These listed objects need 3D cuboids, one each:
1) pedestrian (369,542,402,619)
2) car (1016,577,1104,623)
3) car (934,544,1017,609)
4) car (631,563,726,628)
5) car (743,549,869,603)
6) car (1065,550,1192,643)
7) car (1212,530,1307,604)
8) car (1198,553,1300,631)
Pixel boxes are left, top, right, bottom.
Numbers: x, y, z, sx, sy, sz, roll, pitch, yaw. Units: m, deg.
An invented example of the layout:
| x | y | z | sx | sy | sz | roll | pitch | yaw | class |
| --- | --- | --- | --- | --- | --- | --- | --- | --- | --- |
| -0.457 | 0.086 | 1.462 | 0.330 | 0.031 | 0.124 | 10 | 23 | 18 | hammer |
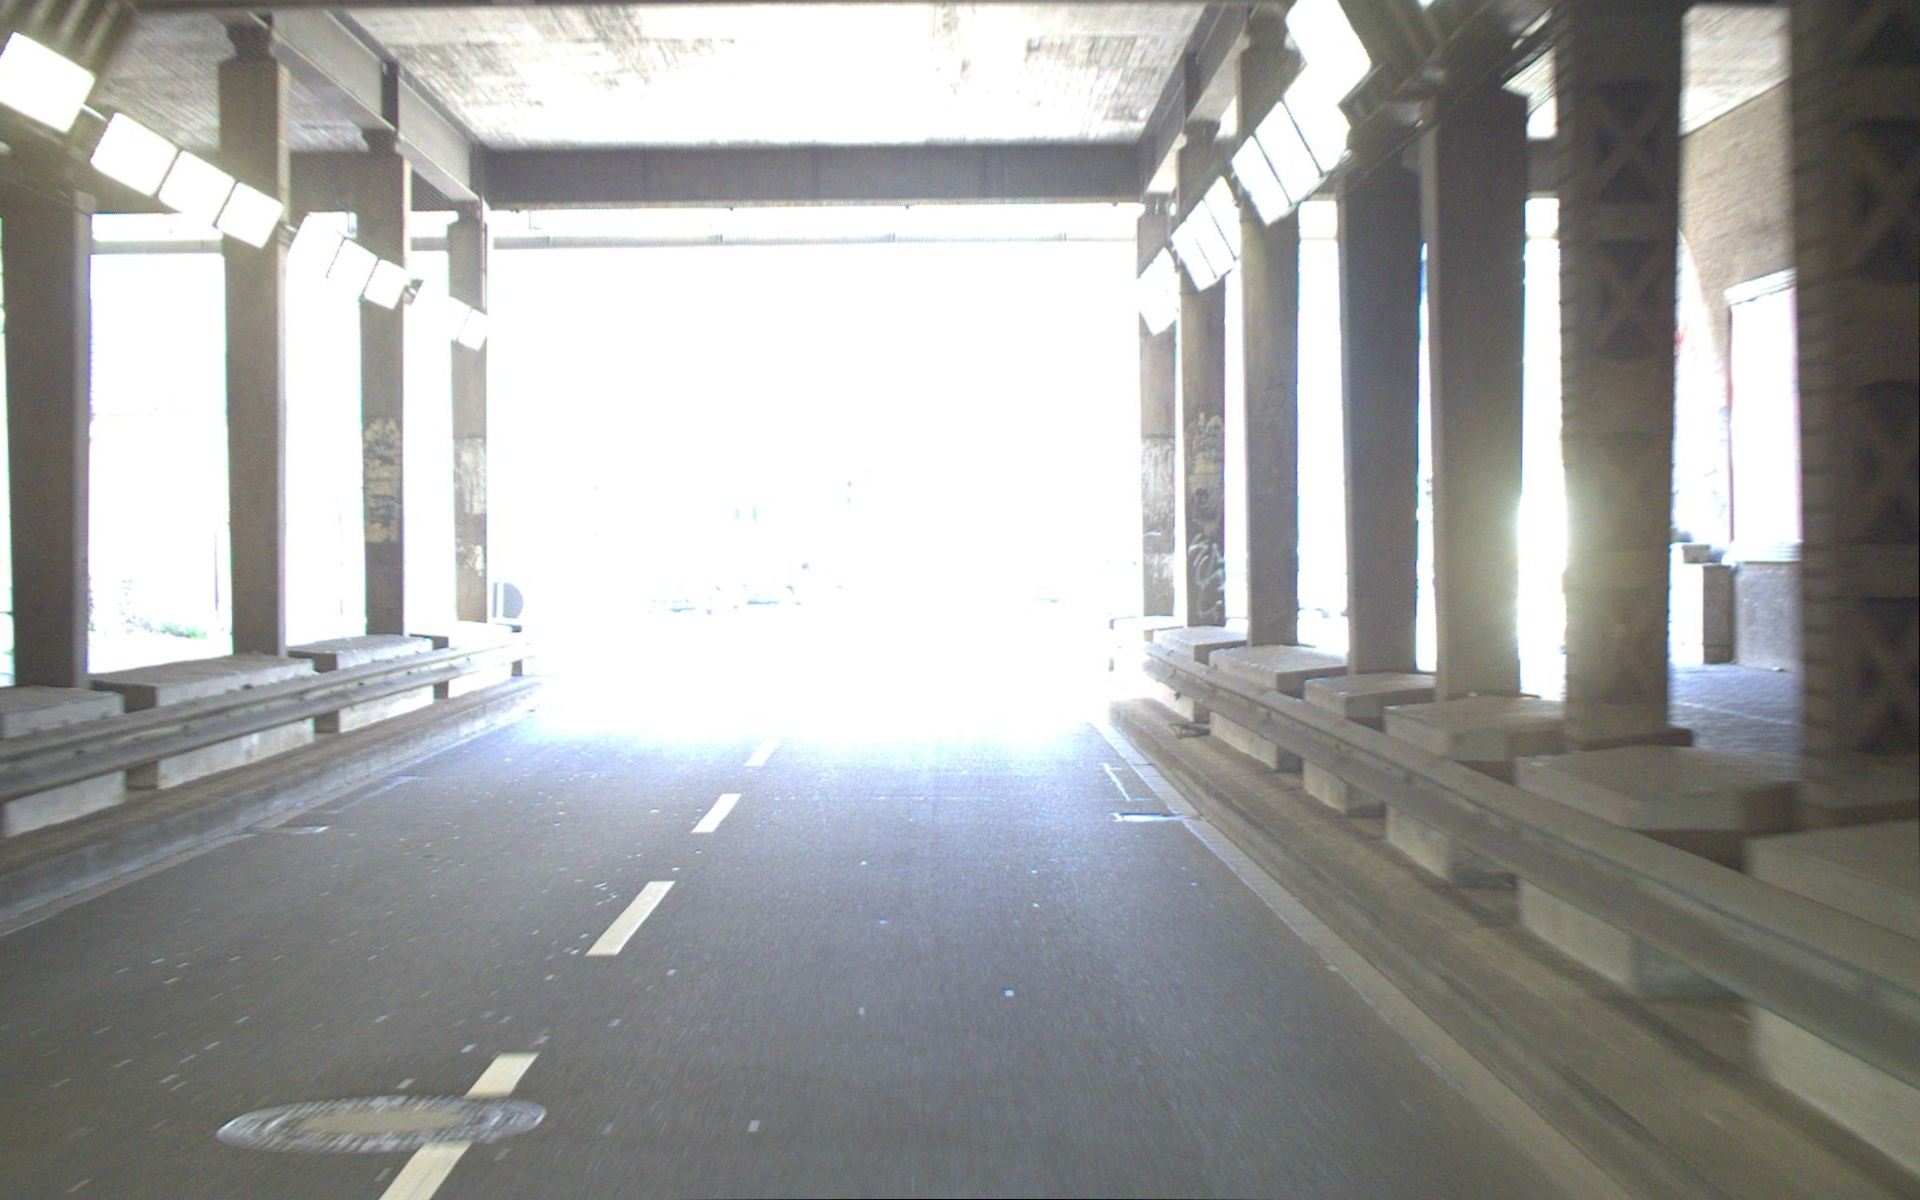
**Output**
| x | y | z | sx | sy | sz | roll | pitch | yaw | class |
| --- | --- | --- | --- | --- | --- | --- | --- | --- | --- |
| -12.248 | -0.410 | 73.240 | 0.513 | 1.634 | 0.625 | -1 | 1 | -27 | pedestrian |
| 3.270 | -0.014 | 111.626 | 1.812 | 1.386 | 4.243 | 0 | 1 | 17 | car |
| 0.360 | -0.533 | 76.453 | 1.786 | 1.389 | 4.105 | 0 | 1 | 1 | car |
| -6.428 | -0.124 | 78.790 | 1.752 | 1.400 | 4.415 | 0 | 1 | 1 | car |
| -4.605 | -0.732 | 103.287 | 1.927 | 1.568 | 3.874 | 0 | 1 | 32 | car |
| 2.845 | -0.089 | 58.728 | 1.947 | 1.523 | 4.090 | 0 | 1 | 0 | car |
| 6.608 | -0.722 | 75.616 | 1.815 | 1.577 | 3.999 | 0 | 0 | 9 | car |
| 5.854 | -0.182 | 69.286 | 1.732 | 1.495 | 3.999 | 0 | 1 | 10 | car |
